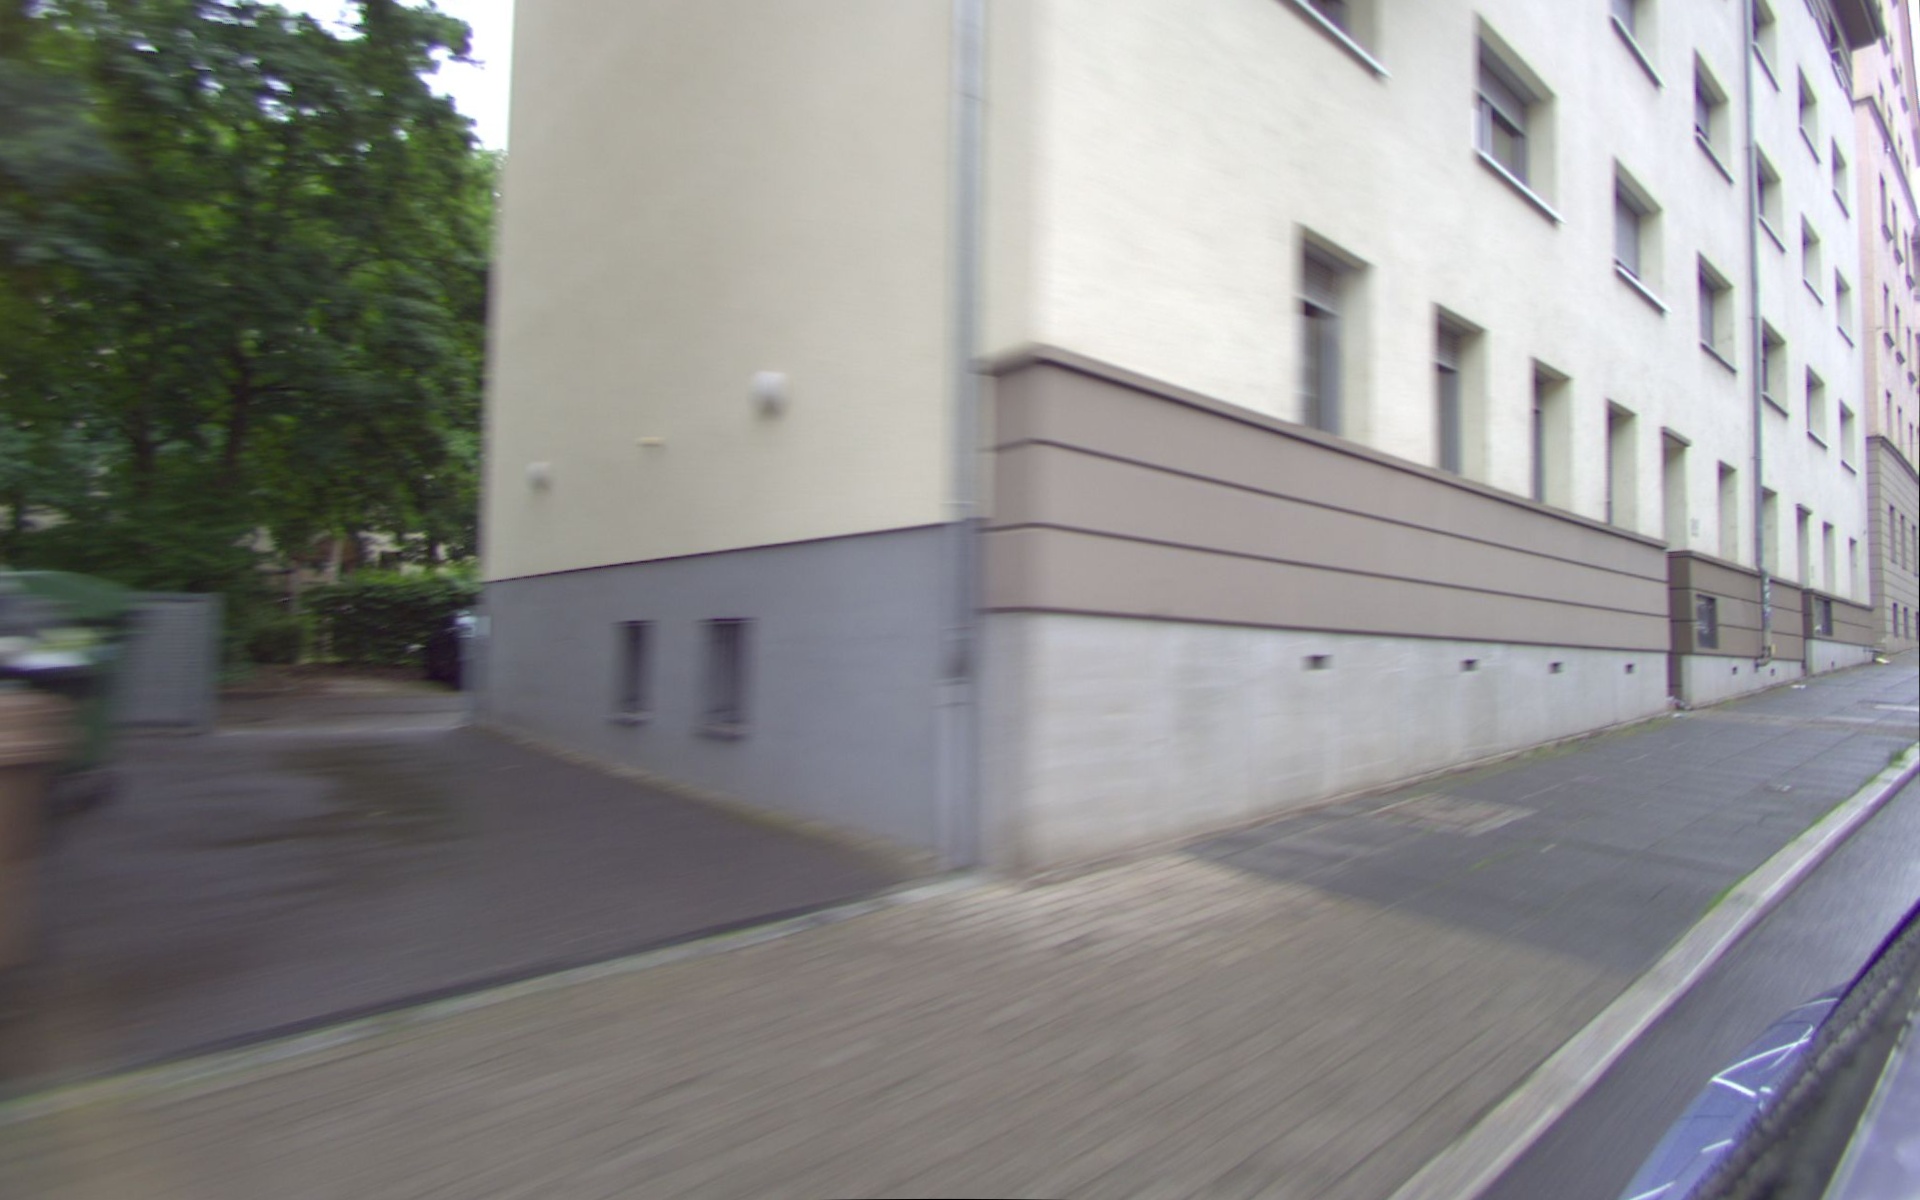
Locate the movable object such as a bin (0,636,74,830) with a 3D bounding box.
[{"bbox_3d":[-5.300,0.724,5.645,0.522,1.027,0.501,1,-2,-42],"label":"movable object such as a bin"}]

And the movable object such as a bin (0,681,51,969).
[{"bbox_3d":[-3.740,0.835,3.718,0.431,1.027,0.503,0,-1,-21],"label":"movable object such as a bin"}]

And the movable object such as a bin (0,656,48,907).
[{"bbox_3d":[-4.222,0.768,4.347,0.432,1.027,0.501,1,-2,-44],"label":"movable object such as a bin"}]

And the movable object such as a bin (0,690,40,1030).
[{"bbox_3d":[-3.273,0.829,3.244,0.468,1.027,0.501,1,-2,-43],"label":"movable object such as a bin"}]

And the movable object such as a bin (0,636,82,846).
[{"bbox_3d":[-4.897,0.708,5.222,0.522,1.027,0.501,1,-2,-44],"label":"movable object such as a bin"}]
